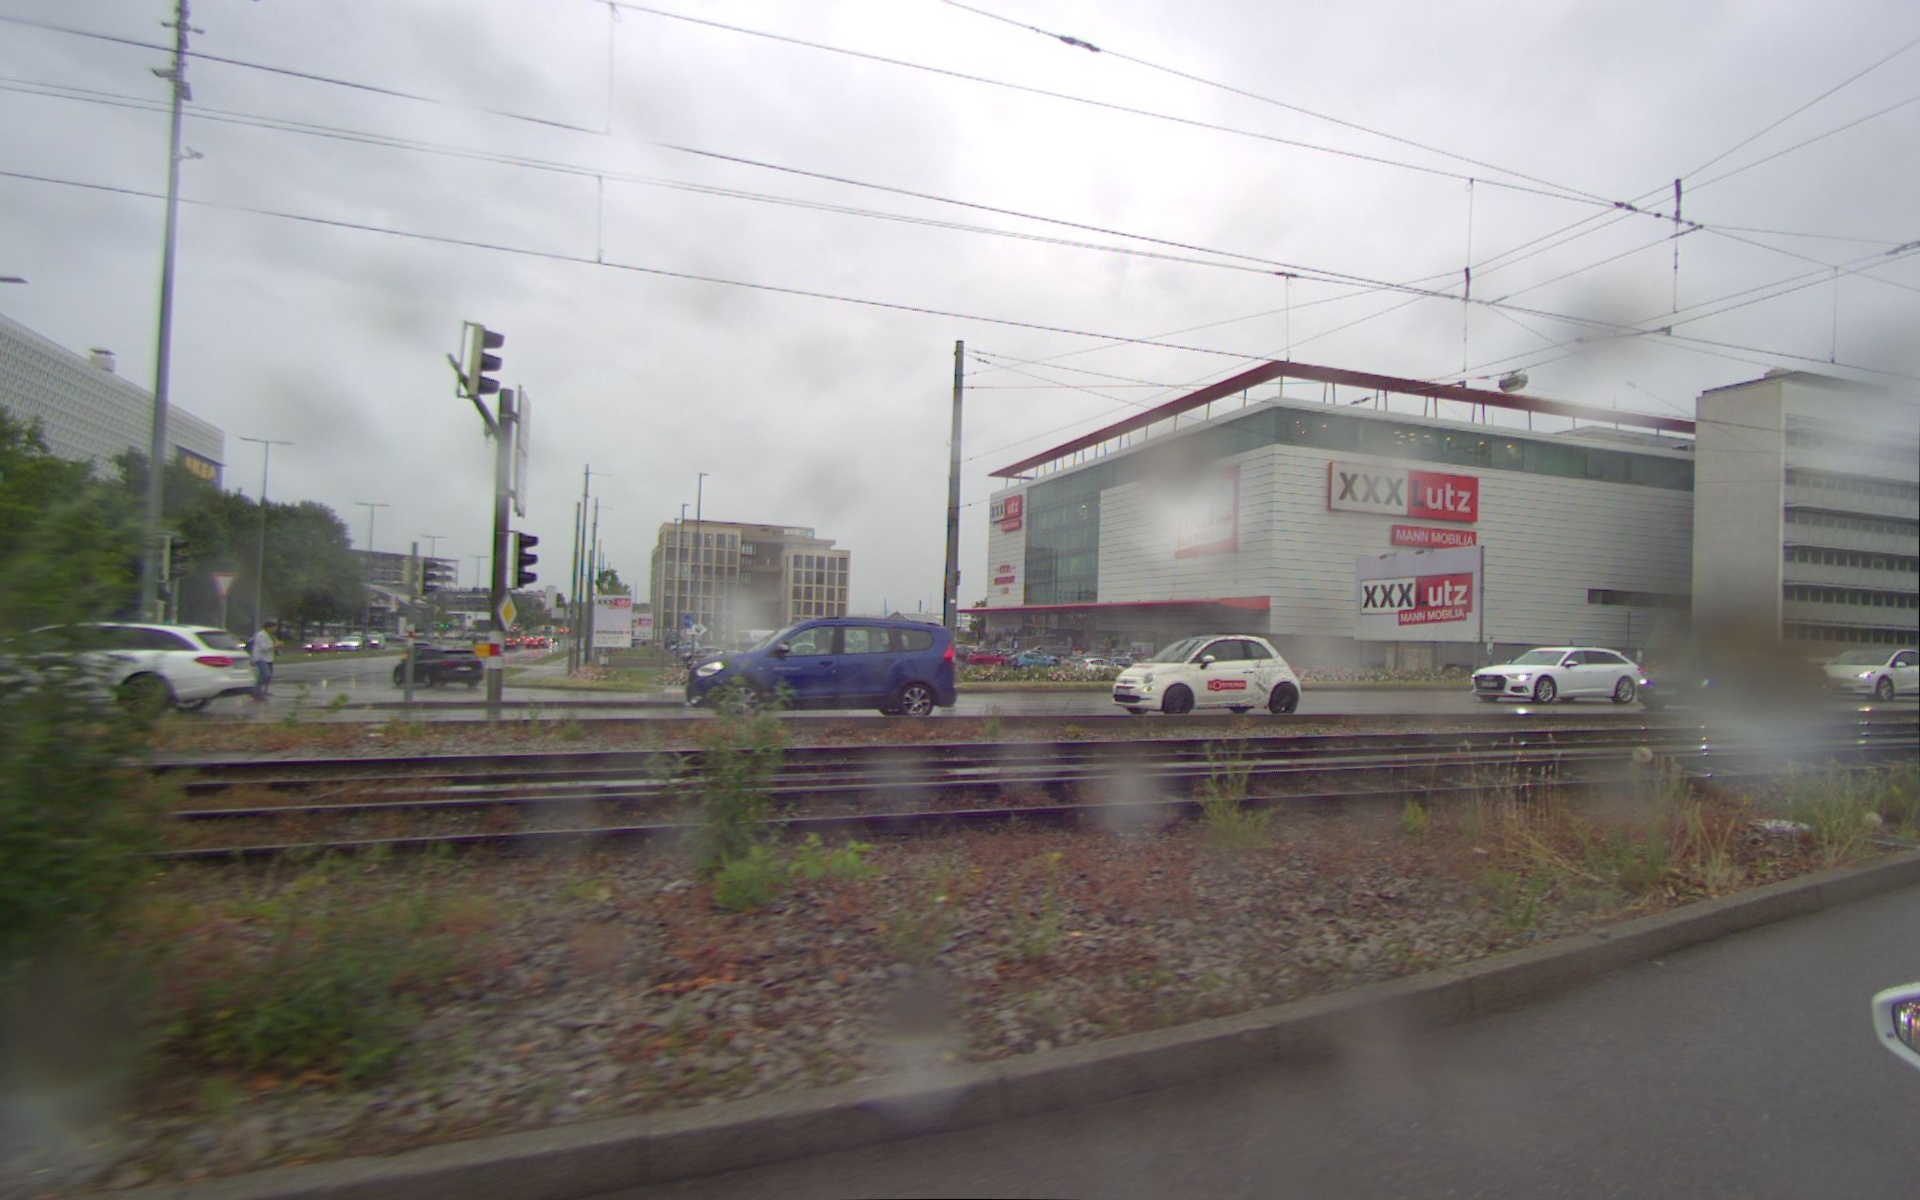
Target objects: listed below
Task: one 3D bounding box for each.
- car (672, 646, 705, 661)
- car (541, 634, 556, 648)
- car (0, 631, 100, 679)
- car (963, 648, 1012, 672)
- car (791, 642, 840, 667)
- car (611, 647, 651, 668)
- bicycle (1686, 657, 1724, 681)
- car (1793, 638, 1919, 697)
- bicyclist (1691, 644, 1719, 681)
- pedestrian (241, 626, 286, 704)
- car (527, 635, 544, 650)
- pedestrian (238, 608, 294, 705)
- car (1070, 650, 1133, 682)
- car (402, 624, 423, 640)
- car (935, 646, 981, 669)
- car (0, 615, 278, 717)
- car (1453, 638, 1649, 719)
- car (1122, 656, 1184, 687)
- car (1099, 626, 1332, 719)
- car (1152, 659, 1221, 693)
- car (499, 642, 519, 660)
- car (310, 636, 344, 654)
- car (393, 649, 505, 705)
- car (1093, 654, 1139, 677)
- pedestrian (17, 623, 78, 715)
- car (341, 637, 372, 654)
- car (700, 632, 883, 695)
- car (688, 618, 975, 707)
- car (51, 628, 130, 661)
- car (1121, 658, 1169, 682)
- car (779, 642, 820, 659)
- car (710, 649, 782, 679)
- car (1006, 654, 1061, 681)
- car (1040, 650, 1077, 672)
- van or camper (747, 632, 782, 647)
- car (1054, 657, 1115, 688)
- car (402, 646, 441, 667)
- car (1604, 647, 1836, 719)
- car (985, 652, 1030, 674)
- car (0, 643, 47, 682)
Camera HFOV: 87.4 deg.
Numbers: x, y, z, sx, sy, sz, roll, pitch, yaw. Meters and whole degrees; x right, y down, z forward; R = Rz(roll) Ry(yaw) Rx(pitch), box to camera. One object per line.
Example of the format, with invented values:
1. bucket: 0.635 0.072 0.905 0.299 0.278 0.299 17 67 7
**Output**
1. car: -30.954 6.085 114.491 3.511 1.425 1.779 3 0 -18
2. car: -65.198 6.482 159.269 1.969 2.040 3.982 3 0 -19
3. car: -35.961 2.120 39.417 1.970 1.625 4.091 3 0 -20
4. car: 2.533 5.475 91.946 3.944 2.040 1.988 2 1 -24
5. car: -12.439 4.700 86.618 3.782 1.930 1.812 3 0 -26
6. car: -34.738 6.081 106.080 3.938 2.040 1.992 3 0 -19
7. bicycle: 33.913 3.157 45.706 1.533 1.029 0.667 2 1 -22
8. car: 28.671 2.087 31.457 4.772 1.628 1.903 1 2 -22
9. bicyclist: 33.867 2.854 45.681 0.780 1.610 0.670 2 1 -21
10. pedestrian: -17.024 1.586 24.576 0.759 1.842 0.710 2 0 -28
11. car: -64.233 6.476 152.053 1.969 2.040 3.982 3 0 -19
12. pedestrian: -15.053 1.213 21.797 0.847 2.040 0.691 2 0 -28
13. car: 10.115 4.716 71.840 3.944 2.040 1.988 2 1 -24
14. car: -79.029 4.564 144.935 1.969 2.040 3.982 3 0 -19
15. car: -0.205 5.537 96.252 3.944 2.040 1.988 2 1 -24
16. car: -13.873 1.010 15.999 4.640 1.455 1.810 1 0 -20
17. car: 15.817 2.103 26.885 4.720 1.927 1.990 3 0 -21
18. car: 14.156 5.232 73.658 3.944 2.040 1.988 2 1 -24
19. car: 4.807 1.321 18.947 3.986 1.556 1.710 1 1 -20
20. car: 14.801 4.966 65.718 3.944 2.040 1.988 2 1 -24
21. car: -57.745 6.516 128.684 1.969 2.040 3.982 3 0 -19
22. car: -57.529 4.098 91.319 1.577 1.425 3.970 3 0 -18
23. car: -18.321 2.714 35.986 3.931 1.639 1.799 2 0 33
24. car: 15.345 6.429 98.724 3.945 2.040 1.988 3 0 -24
25. pedestrian: -20.966 1.577 23.097 0.657 2.040 0.768 2 0 -7
26. car: -60.756 4.542 101.142 1.683 1.425 4.150 3 0 -18
27. car: -3.774 1.392 22.365 3.851 1.266 1.581 1 0 -16
28. car: -2.110 0.976 16.458 4.394 1.266 1.709 1 0 -21
29. car: -43.649 2.217 50.523 1.577 1.425 3.810 3 0 -18
30. car: 17.176 6.476 93.368 3.945 2.040 1.988 3 0 -24
31. car: -16.544 5.221 103.504 3.948 1.582 1.756 3 0 -21
32. car: -12.909 3.885 60.648 3.944 1.626 1.795 2 1 -24
33. car: 5.891 5.419 80.619 3.944 2.040 1.988 2 1 -24
34. car: 10.661 6.611 108.579 3.919 2.040 2.001 3 0 6
35. van or camper: -29.648 5.995 152.541 4.928 2.141 1.774 3 0 -27
36. car: 9.211 5.374 74.376 3.944 2.040 1.988 2 1 -24
37. car: -43.563 4.558 81.346 2.004 1.425 4.205 3 0 -18
38. car: 17.843 1.884 23.588 5.006 1.442 1.920 1 0 -20
39. car: 4.768 6.330 100.622 3.945 2.040 1.988 3 0 -24
40. car: -41.279 2.658 42.874 1.791 1.561 4.271 1 -1 -19
